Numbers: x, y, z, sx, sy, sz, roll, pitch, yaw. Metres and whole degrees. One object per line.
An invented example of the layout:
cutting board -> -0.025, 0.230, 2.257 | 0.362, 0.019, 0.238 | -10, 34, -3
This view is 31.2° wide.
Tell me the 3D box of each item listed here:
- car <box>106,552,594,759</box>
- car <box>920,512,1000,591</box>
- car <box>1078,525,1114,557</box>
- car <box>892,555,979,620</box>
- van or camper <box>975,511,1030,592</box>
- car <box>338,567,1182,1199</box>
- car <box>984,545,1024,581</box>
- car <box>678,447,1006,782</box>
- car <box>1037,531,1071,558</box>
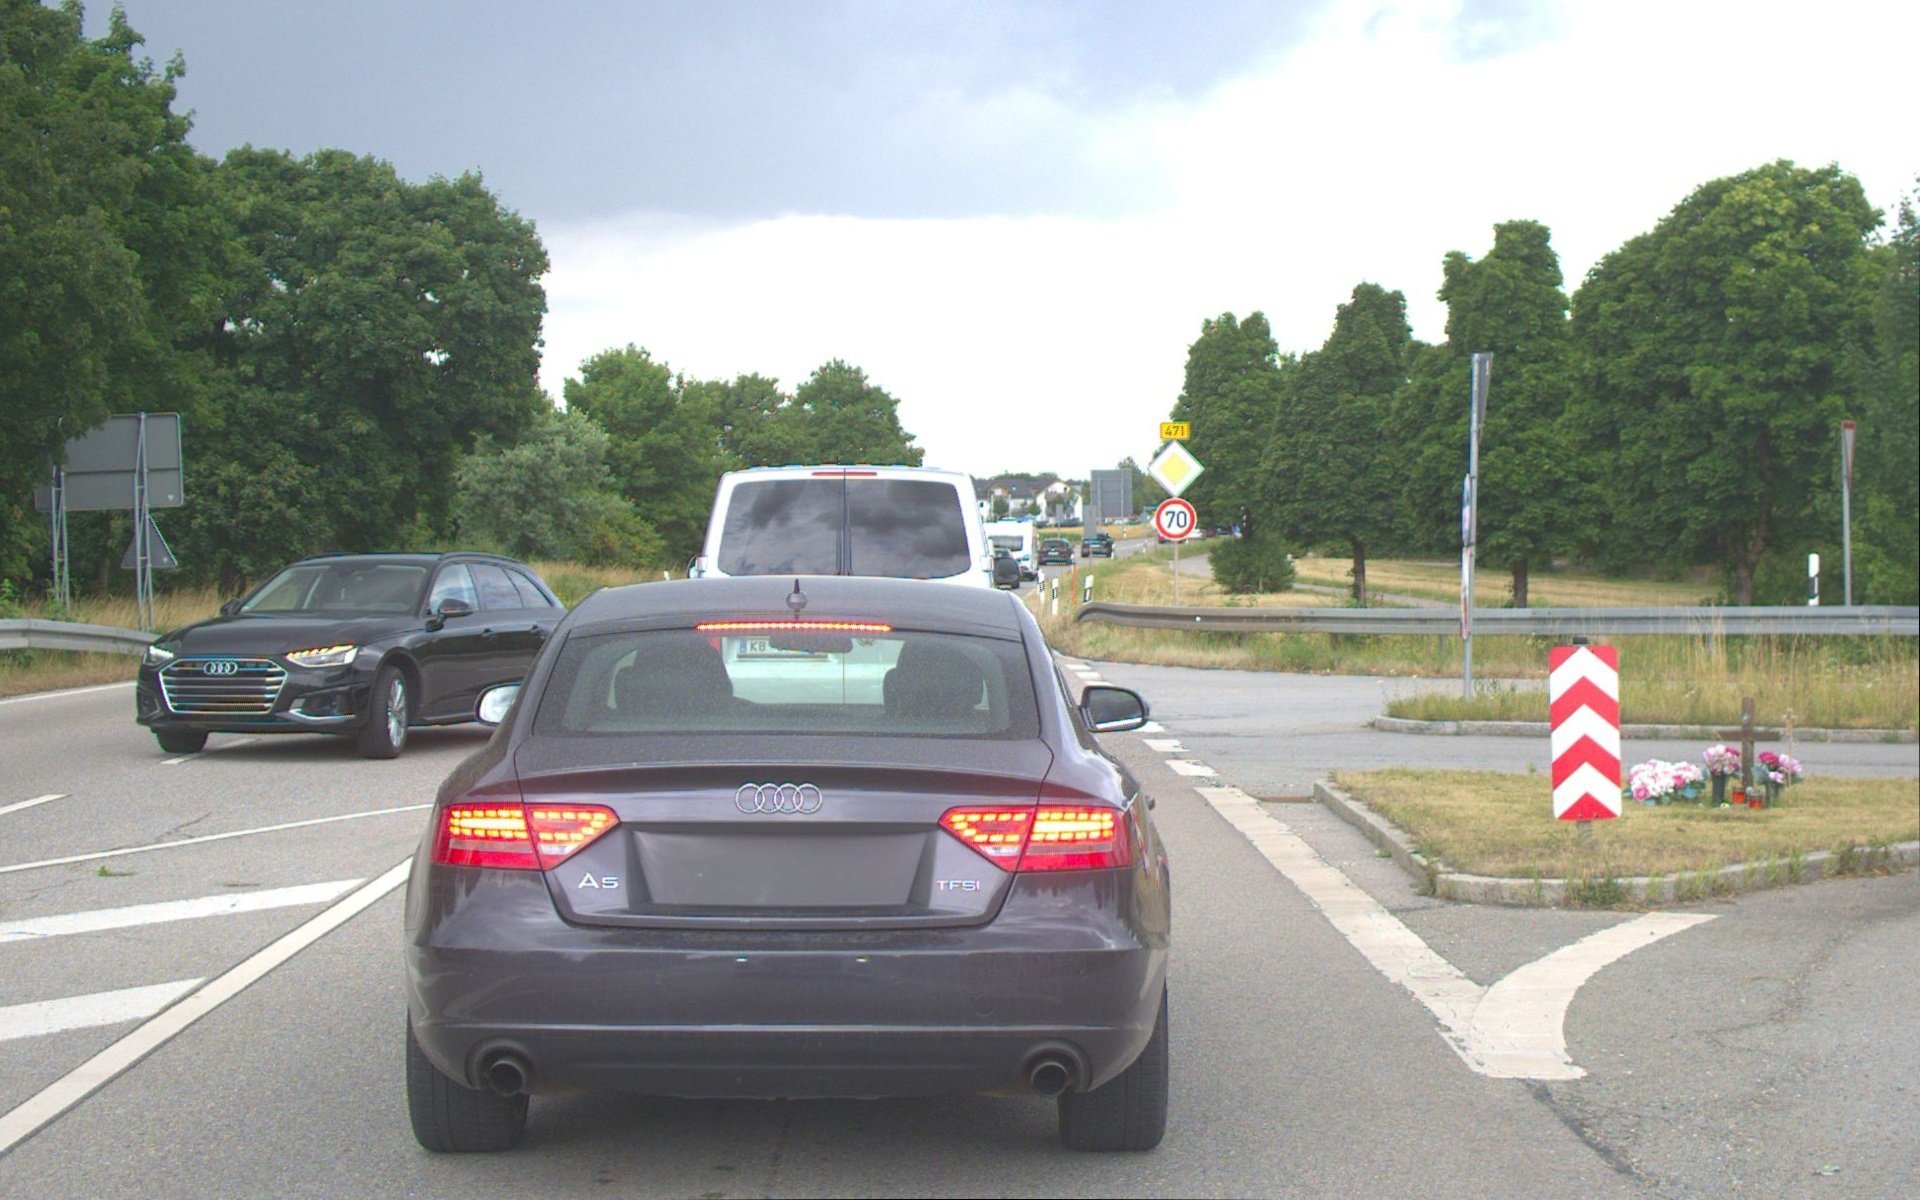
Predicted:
car -> -4.366, 0.338, 25.414 | 1.821, 1.369, 4.608 | 0, 1, 14
car -> 0.030, -1.307, 92.680 | 1.994, 2.081, 4.000 | 0, 1, 2
car -> 8.390, -3.661, 212.844 | 1.993, 2.007, 4.000 | 0, 1, -1
car -> -0.536, -0.300, 78.651 | 1.796, 1.459, 3.248 | 0, 1, 3
van or camper -> 1.889, -2.130, 150.996 | 2.340, 3.469, 5.718 | 0, 1, 2
car -> -0.449, 0.632, 9.315 | 1.783, 1.372, 4.000 | 1, 1, -1
car -> 1.724, -1.445, 133.871 | 1.258, 1.349, 3.465 | 0, 1, 5
car -> -0.692, 0.034, 21.443 | 1.838, 1.876, 4.000 | 1, 1, -1
car -> 5.076, -2.990, 185.743 | 1.719, 1.446, 4.000 | 1, 1, 1
